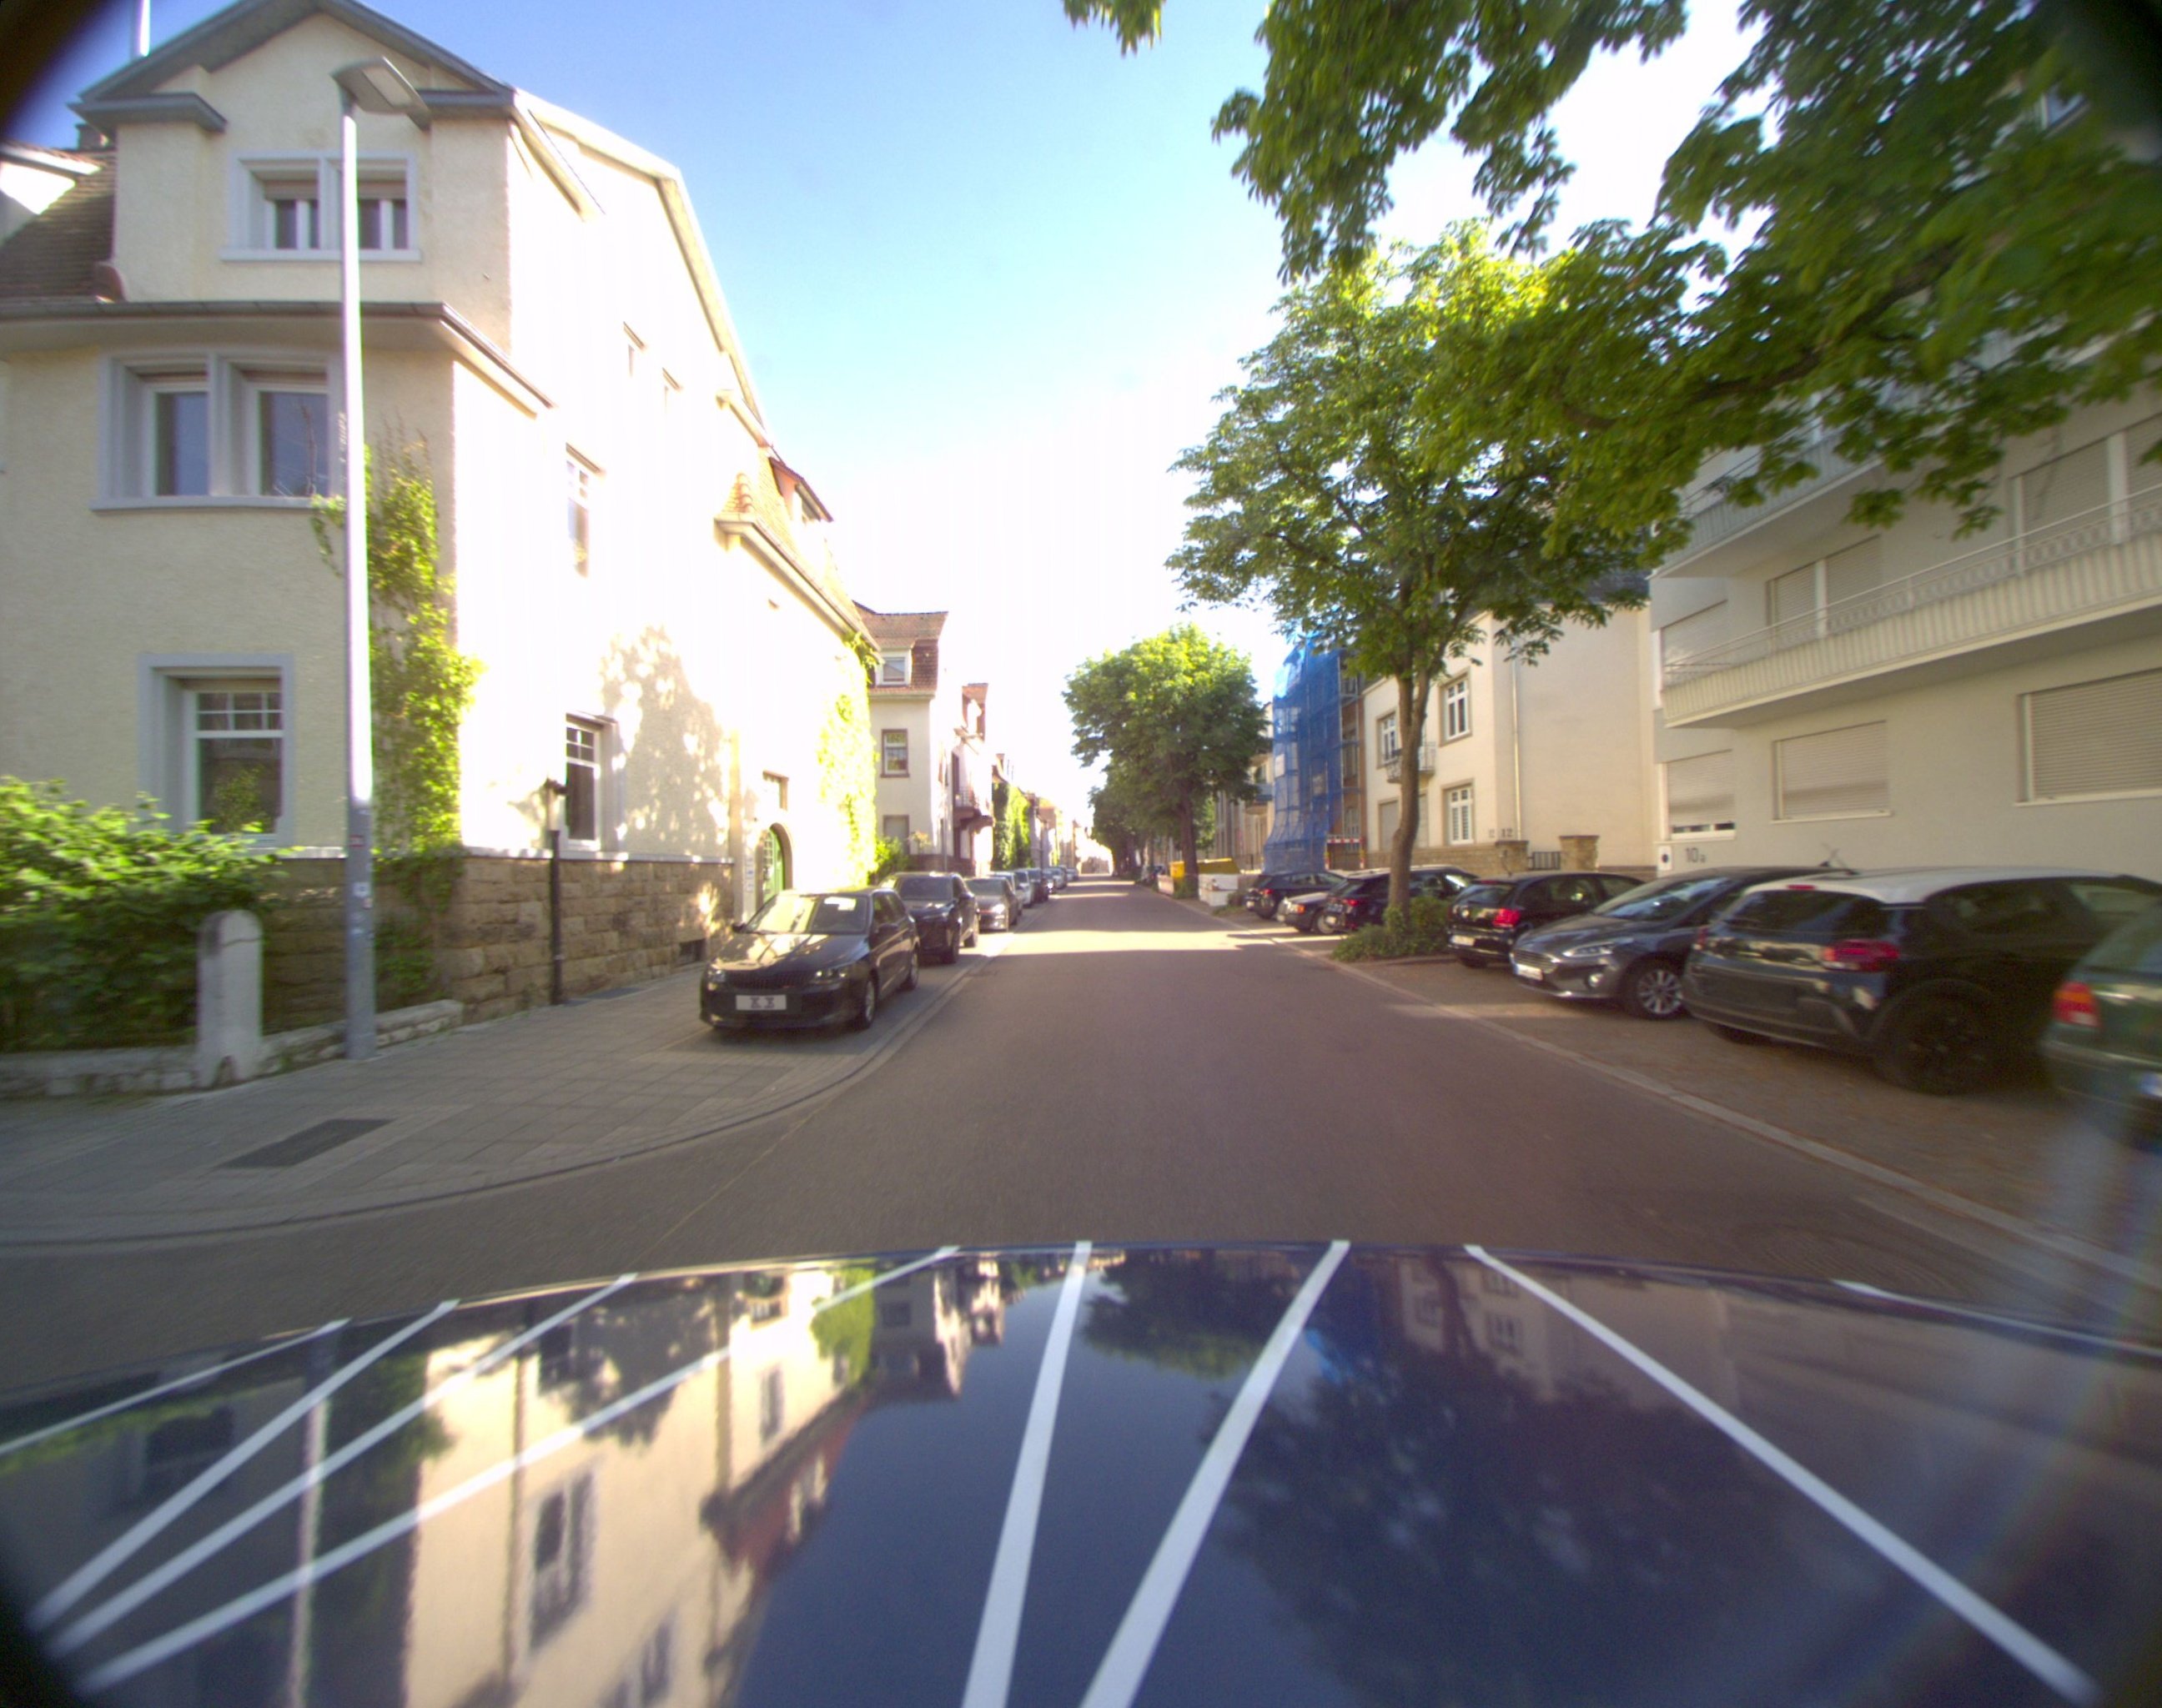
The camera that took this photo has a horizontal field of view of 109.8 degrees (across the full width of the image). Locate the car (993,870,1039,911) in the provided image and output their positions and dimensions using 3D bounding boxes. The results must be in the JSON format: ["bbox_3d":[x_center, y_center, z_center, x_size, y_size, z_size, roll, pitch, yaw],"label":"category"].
[{"bbox_3d":[-2.717,1.509,32.225,1.629,1.540,2.869,-2,0,0],"label":"car"}]

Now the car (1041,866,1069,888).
[{"bbox_3d":[-2.002,1.808,59.563,1.872,1.634,4.200,0,-1,1],"label":"car"}]

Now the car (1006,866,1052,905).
[{"bbox_3d":[-2.482,1.483,37.345,1.782,1.686,4.321,-3,0,1],"label":"car"}]

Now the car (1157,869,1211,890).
[{"bbox_3d":[7.468,1.850,55.150,3.735,1.455,1.715,0,-2,2],"label":"car"}]

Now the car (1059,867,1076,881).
[{"bbox_3d":[-1.547,2.411,90.903,1.813,1.546,4.107,-1,-1,2],"label":"car"}]

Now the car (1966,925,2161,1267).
[{"bbox_3d":[6.674,1.008,3.176,3.932,1.406,1.716,-3,-2,-1],"label":"car"}]

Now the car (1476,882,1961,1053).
[{"bbox_3d":[6.539,1.131,8.157,3.652,1.454,1.711,-3,-1,3],"label":"car"}]

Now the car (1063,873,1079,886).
[{"bbox_3d":[-1.263,3.368,100.839,1.822,1.529,4.162,-3,-1,2],"label":"car"}]

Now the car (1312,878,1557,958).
[{"bbox_3d":[7.108,1.261,15.580,4.198,1.432,1.713,-1,-1,0],"label":"car"}]

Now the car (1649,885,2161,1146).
[{"bbox_3d":[6.719,1.068,5.703,3.486,1.449,1.798,-3,-1,2],"label":"car"}]

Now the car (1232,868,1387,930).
[{"bbox_3d":[6.700,1.281,22.485,3.882,1.505,1.832,-4,-1,-8],"label":"car"}]

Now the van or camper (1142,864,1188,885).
[{"bbox_3d":[7.610,1.860,68.859,3.953,1.762,1.810,-2,-2,0],"label":"van or camper"}]

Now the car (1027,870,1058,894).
[{"bbox_3d":[-2.384,1.757,48.352,1.648,1.445,4.504,-2,-1,1],"label":"car"}]

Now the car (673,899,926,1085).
[{"bbox_3d":[-3.015,1.397,9.059,1.667,1.511,4.001,0,0,-2],"label":"car"}]

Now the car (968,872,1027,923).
[{"bbox_3d":[-2.749,1.418,25.655,1.579,1.540,3.469,0,0,1],"label":"car"}]

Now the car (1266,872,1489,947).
[{"bbox_3d":[6.951,1.277,18.140,4.601,1.597,1.833,-1,-1,-1],"label":"car"}]

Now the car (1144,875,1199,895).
[{"bbox_3d":[7.135,2.451,60.044,4.150,1.392,1.710,-2,-1,1],"label":"car"}]

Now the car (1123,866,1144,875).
[{"bbox_3d":[8.921,2.853,129.432,3.496,1.420,1.543,-1,-1,0],"label":"car"}]

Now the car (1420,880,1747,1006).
[{"bbox_3d":[6.954,1.181,10.748,3.488,1.412,1.710,-3,0,-4],"label":"car"}]

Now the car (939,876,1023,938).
[{"bbox_3d":[-2.659,1.385,21.003,1.713,1.427,4.193,1,0,1],"label":"car"}]

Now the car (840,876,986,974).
[{"bbox_3d":[-3.027,1.224,14.632,1.796,1.511,4.367,0,0,1],"label":"car"}]
